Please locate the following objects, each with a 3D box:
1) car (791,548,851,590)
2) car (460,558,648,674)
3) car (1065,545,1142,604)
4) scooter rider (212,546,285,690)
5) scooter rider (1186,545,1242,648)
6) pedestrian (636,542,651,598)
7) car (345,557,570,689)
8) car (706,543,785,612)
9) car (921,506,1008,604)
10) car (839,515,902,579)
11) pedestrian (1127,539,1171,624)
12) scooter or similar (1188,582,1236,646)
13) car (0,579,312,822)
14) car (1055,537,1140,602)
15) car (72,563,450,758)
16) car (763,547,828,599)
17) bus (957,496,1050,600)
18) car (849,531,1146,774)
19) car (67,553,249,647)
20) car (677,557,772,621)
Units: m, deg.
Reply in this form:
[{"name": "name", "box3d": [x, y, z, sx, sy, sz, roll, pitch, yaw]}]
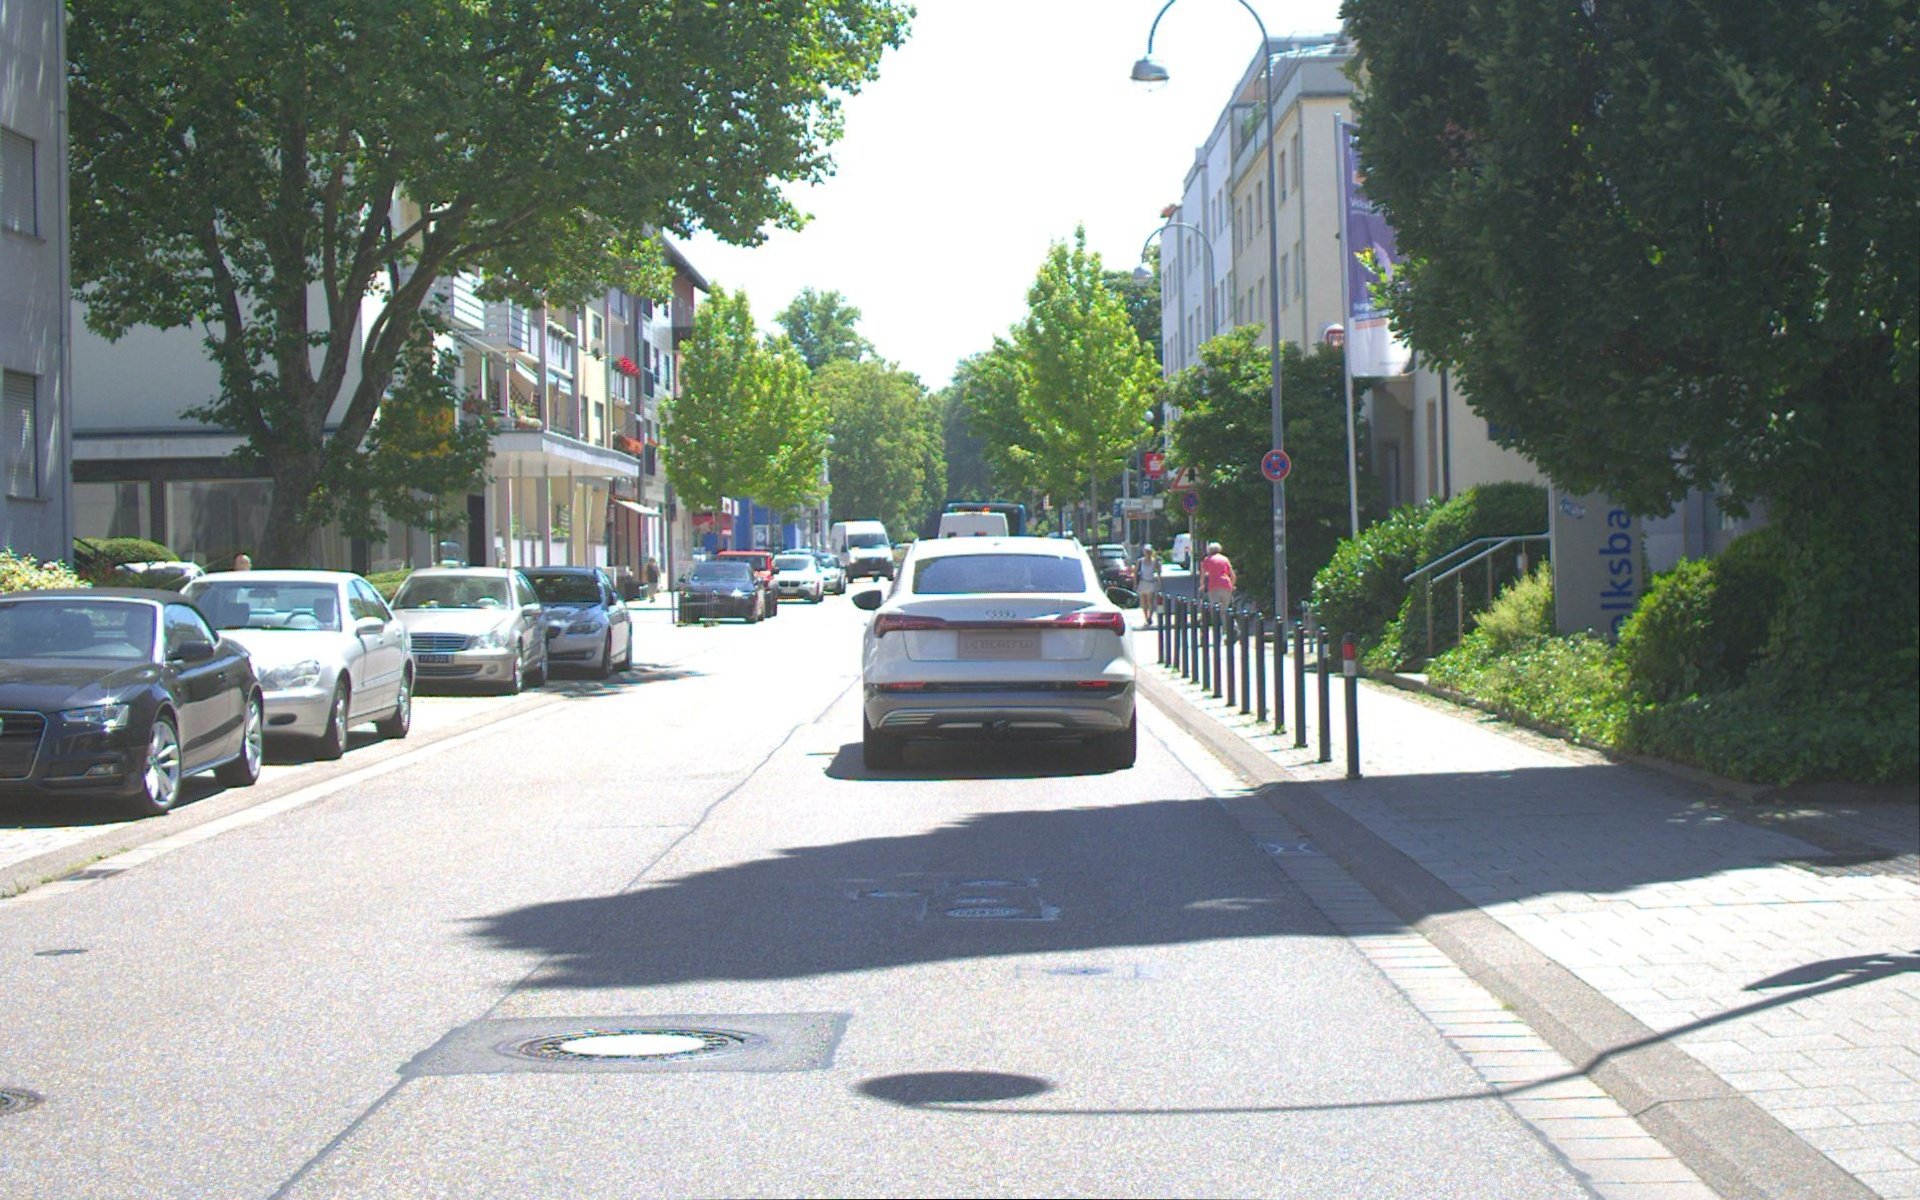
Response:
[{"name": "car", "box3d": [-4.922, -1.113, 122.090, 1.752, 1.448, 4.400, 1, 1, 2]}, {"name": "car", "box3d": [-5.406, 0.171, 46.368, 1.981, 1.447, 5.151, 0, 1, -1]}, {"name": "car", "box3d": [3.674, -0.675, 88.489, 1.896, 1.433, 4.544, -1, 1, 2]}, {"name": "scooter rider", "box3d": [-7.946, 0.193, 38.408, 0.588, 1.570, 0.877, 1, 1, 2]}, {"name": "scooter rider", "box3d": [3.876, -0.058, 52.488, 0.716, 1.543, 0.770, -2, 1, -1]}, {"name": "pedestrian", "box3d": [-9.994, -0.946, 108.567, 0.394, 1.729, 0.446, -2, 1, -10]}, {"name": "car", "box3d": [-5.839, 0.226, 40.479, 1.981, 1.447, 4.868, 0, 1, -1]}, {"name": "car", "box3d": [-5.462, -0.600, 87.918, 1.752, 1.696, 4.101, 1, 1, 0]}, {"name": "car", "box3d": [0.151, -1.154, 89.350, 2.156, 2.433, 5.283, 1, 1, 1]}, {"name": "car", "box3d": [-3.937, -2.279, 149.309, 2.036, 2.621, 7.109, -3, 1, -6]}, {"name": "pedestrian", "box3d": [3.716, -0.357, 67.741, 0.700, 1.621, 0.784, -4, 0, -1]}, {"name": "scooter or similar", "box3d": [3.887, 0.210, 53.087, 0.663, 0.960, 0.754, -2, 1, 1]}, {"name": "car", "box3d": [-5.773, 0.578, 22.685, 1.942, 1.369, 5.098, -1, 1, 1]}, {"name": "car", "box3d": [3.759, -0.859, 94.629, 1.896, 1.669, 4.691, -3, 1, -2]}, {"name": "car", "box3d": [-5.700, 0.431, 28.753, 1.981, 1.447, 5.357, 0, 1, 1]}, {"name": "car", "box3d": [-5.308, -0.893, 111.229, 1.752, 1.612, 4.400, 1, 1, 2]}, {"name": "bus", "box3d": [1.440, -1.647, 110.901, 2.661, 3.210, 7.300, 1, 1, 3]}, {"name": "car", "box3d": [0.226, 0.326, 25.159, 1.993, 1.627, 4.000, 0, 1, -1]}, {"name": "car", "box3d": [-13.593, -0.010, 58.139, 1.891, 1.481, 3.996, -2, 1, -30]}, {"name": "car", "box3d": [-5.544, -0.284, 81.447, 1.896, 1.412, 5.048, 1, 1, 0]}]
